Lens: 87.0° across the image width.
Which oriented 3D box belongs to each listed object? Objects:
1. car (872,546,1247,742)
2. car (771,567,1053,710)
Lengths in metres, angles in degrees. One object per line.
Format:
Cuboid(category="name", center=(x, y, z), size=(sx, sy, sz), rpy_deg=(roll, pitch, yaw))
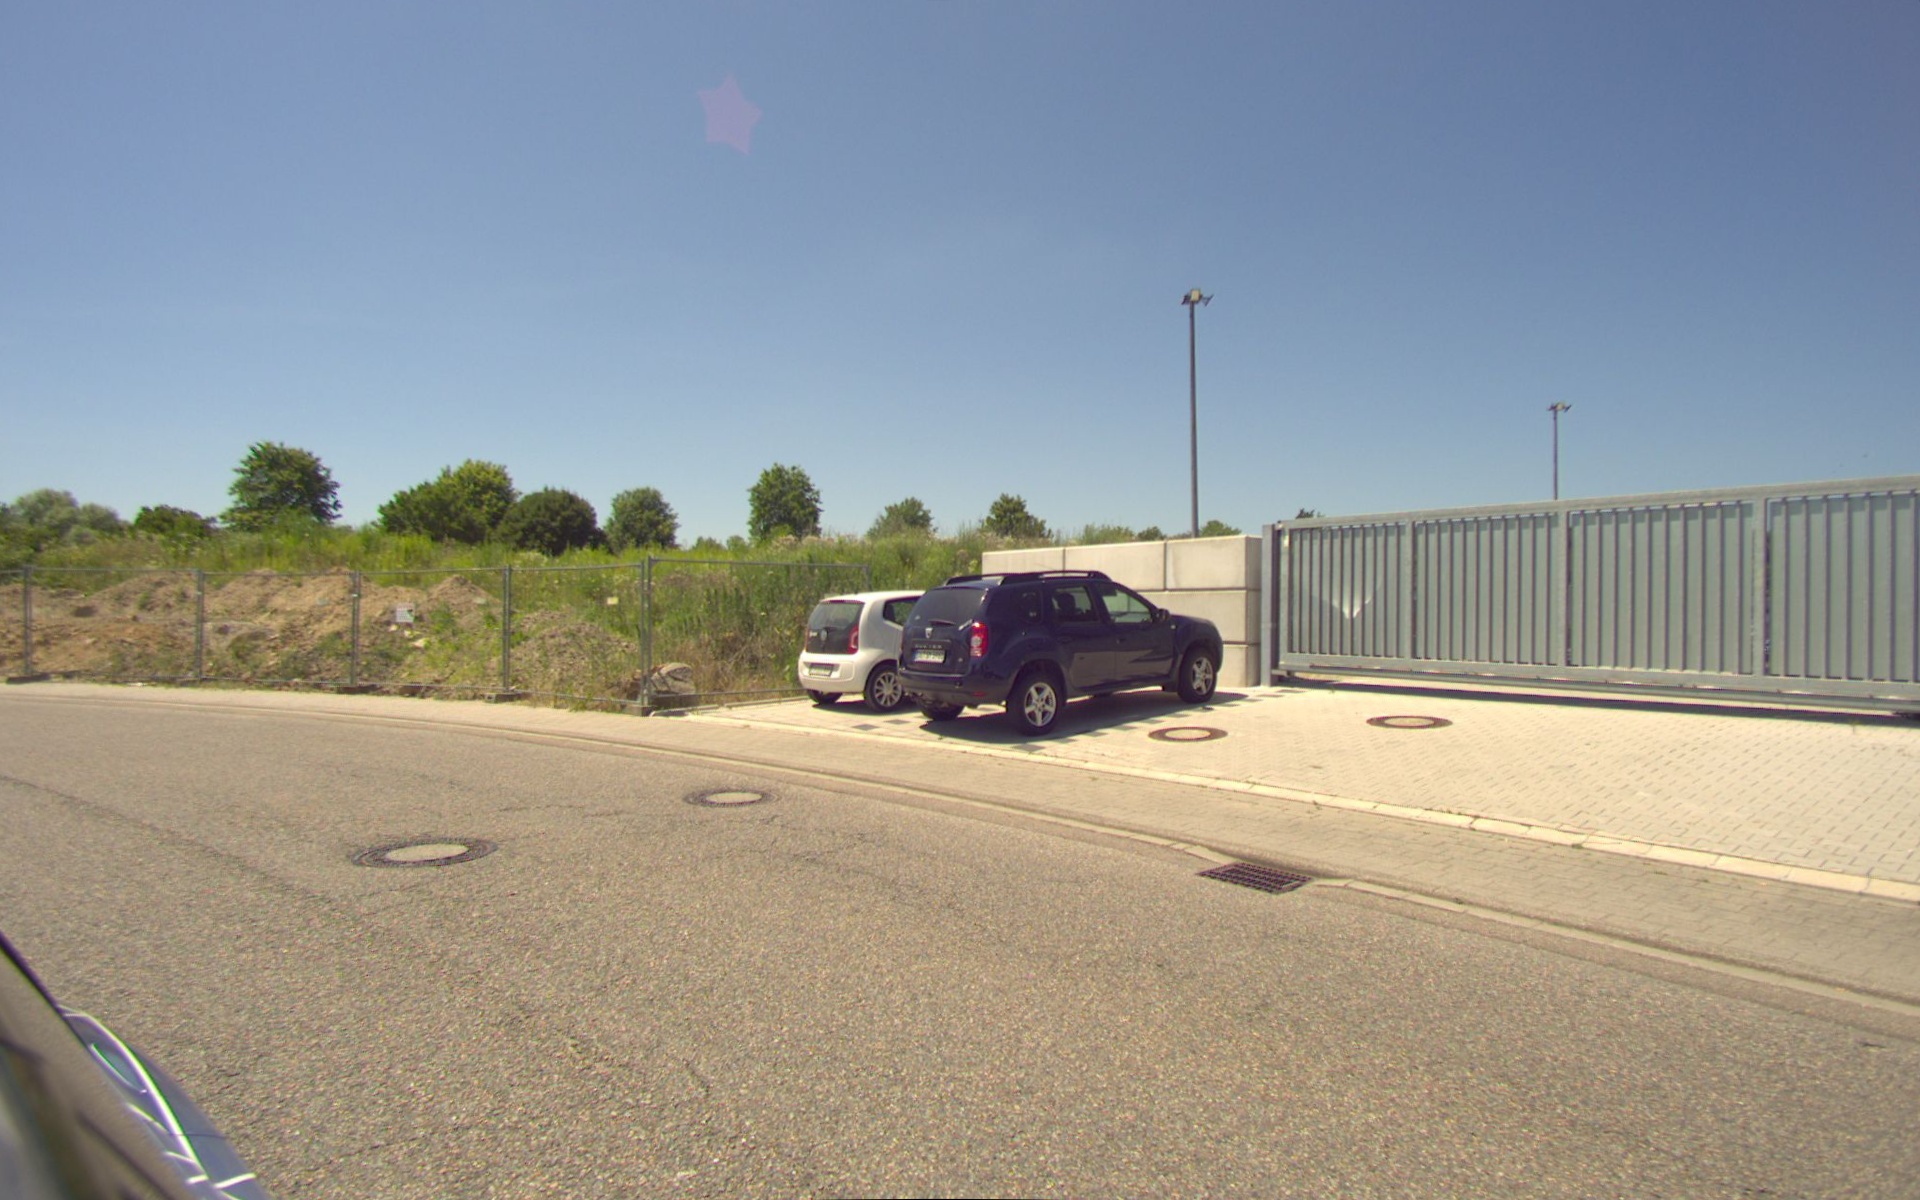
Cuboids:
Cuboid(category="car", center=(1.249, 0.351, 11.603), size=(4.110, 1.671, 1.785), rpy_deg=(-6, 4, -38))
Cuboid(category="car", center=(-0.587, 0.418, 13.628), size=(3.319, 1.472, 1.785), rpy_deg=(-6, 4, -40))
